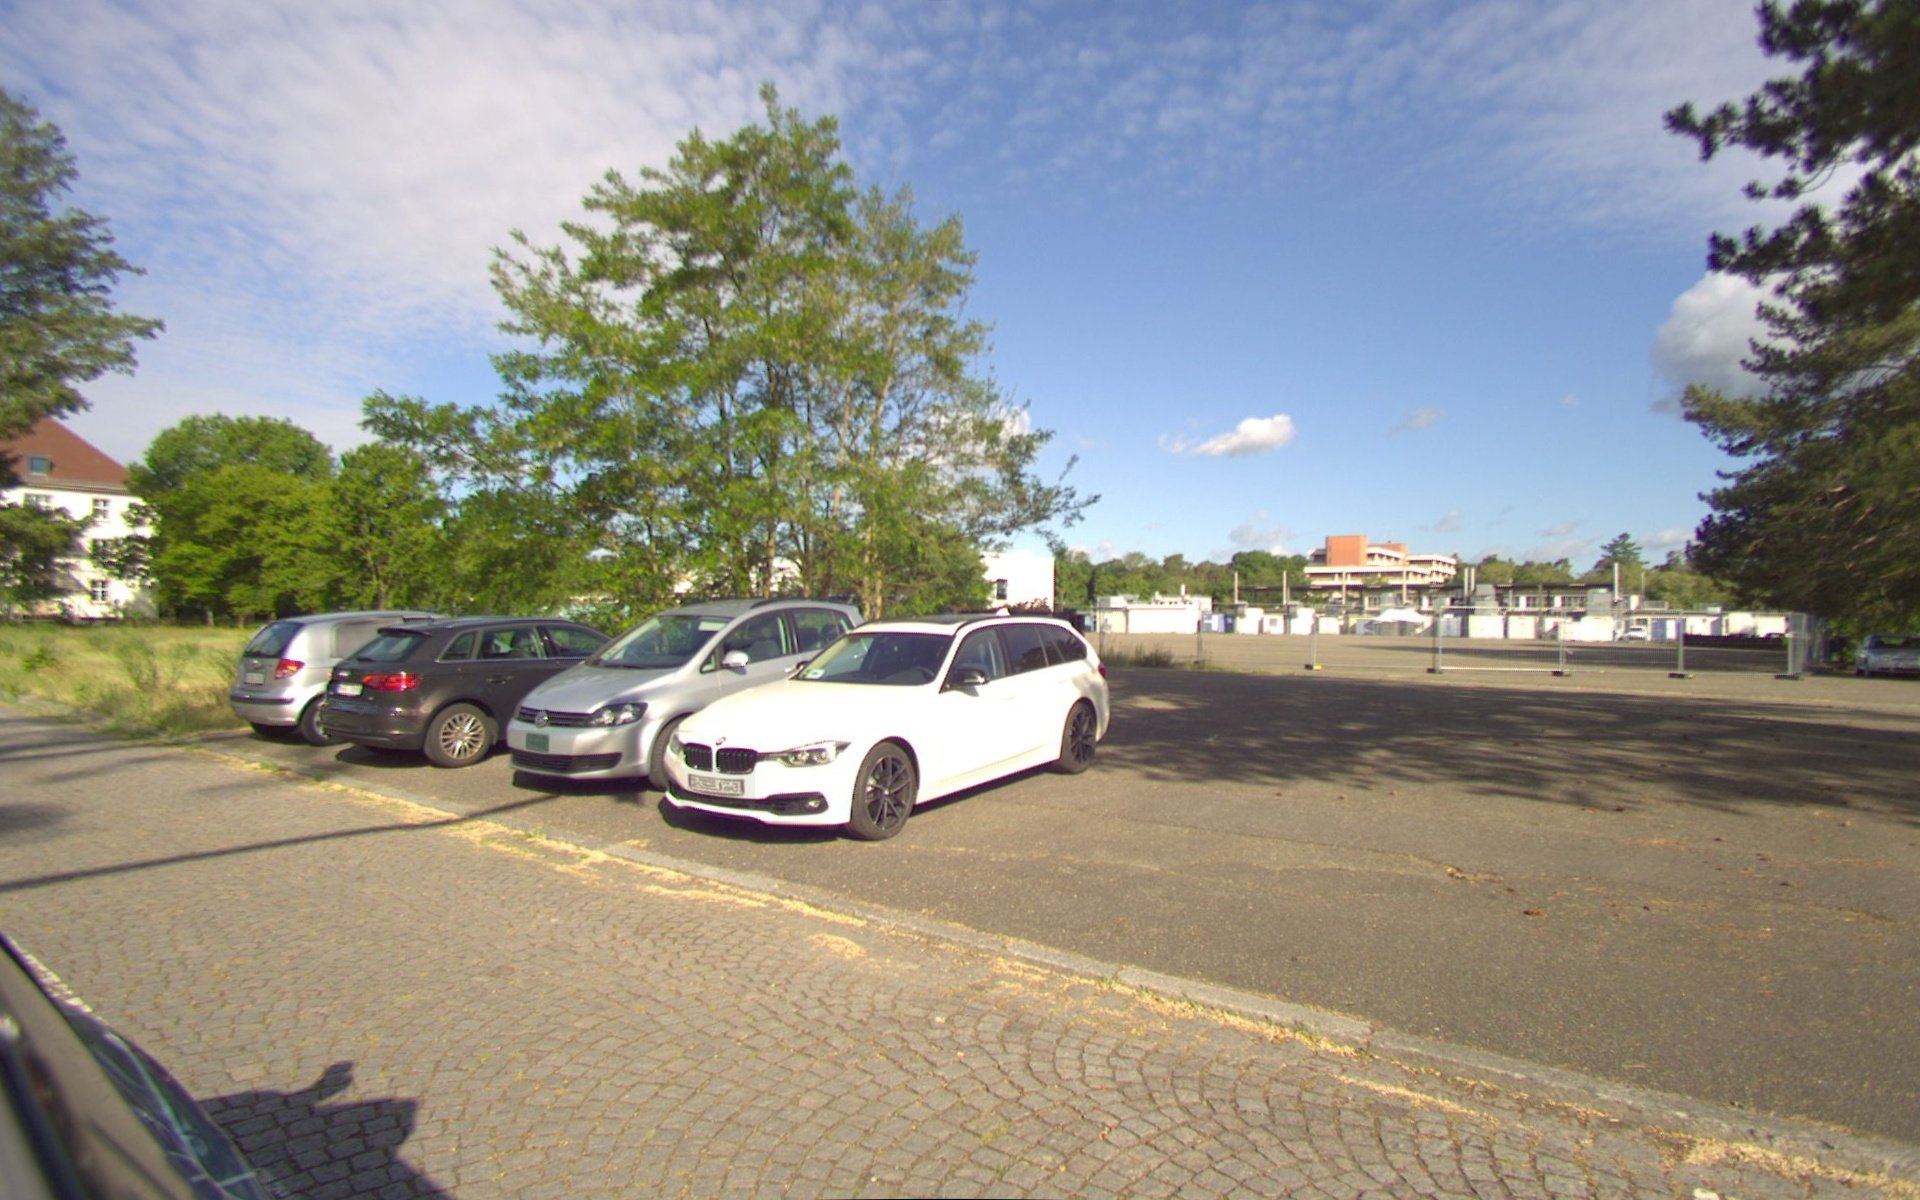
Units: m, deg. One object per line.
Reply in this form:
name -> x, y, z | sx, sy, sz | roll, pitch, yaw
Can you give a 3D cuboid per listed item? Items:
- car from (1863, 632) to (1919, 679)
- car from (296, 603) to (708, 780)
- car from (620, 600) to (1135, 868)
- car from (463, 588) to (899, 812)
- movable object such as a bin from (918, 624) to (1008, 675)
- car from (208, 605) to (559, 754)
car -> 29.508, 1.715, 31.628 | 1.746, 1.380, 3.574 | -1, -2, 39
car -> -4.817, 0.831, 11.098 | 1.685, 1.482, 3.762 | 0, 1, 37
car -> -0.336, 0.799, 8.303 | 1.748, 1.478, 4.502 | -1, 1, 35
car -> -2.439, 0.745, 9.775 | 1.717, 1.638, 3.912 | 0, 1, 33
movable object such as a bin -> 0.103, 1.134, 23.746 | 0.996, 1.116, 2.258 | 0, -2, 36
car -> -7.034, 0.854, 12.640 | 1.633, 1.482, 3.435 | 0, 1, 35
